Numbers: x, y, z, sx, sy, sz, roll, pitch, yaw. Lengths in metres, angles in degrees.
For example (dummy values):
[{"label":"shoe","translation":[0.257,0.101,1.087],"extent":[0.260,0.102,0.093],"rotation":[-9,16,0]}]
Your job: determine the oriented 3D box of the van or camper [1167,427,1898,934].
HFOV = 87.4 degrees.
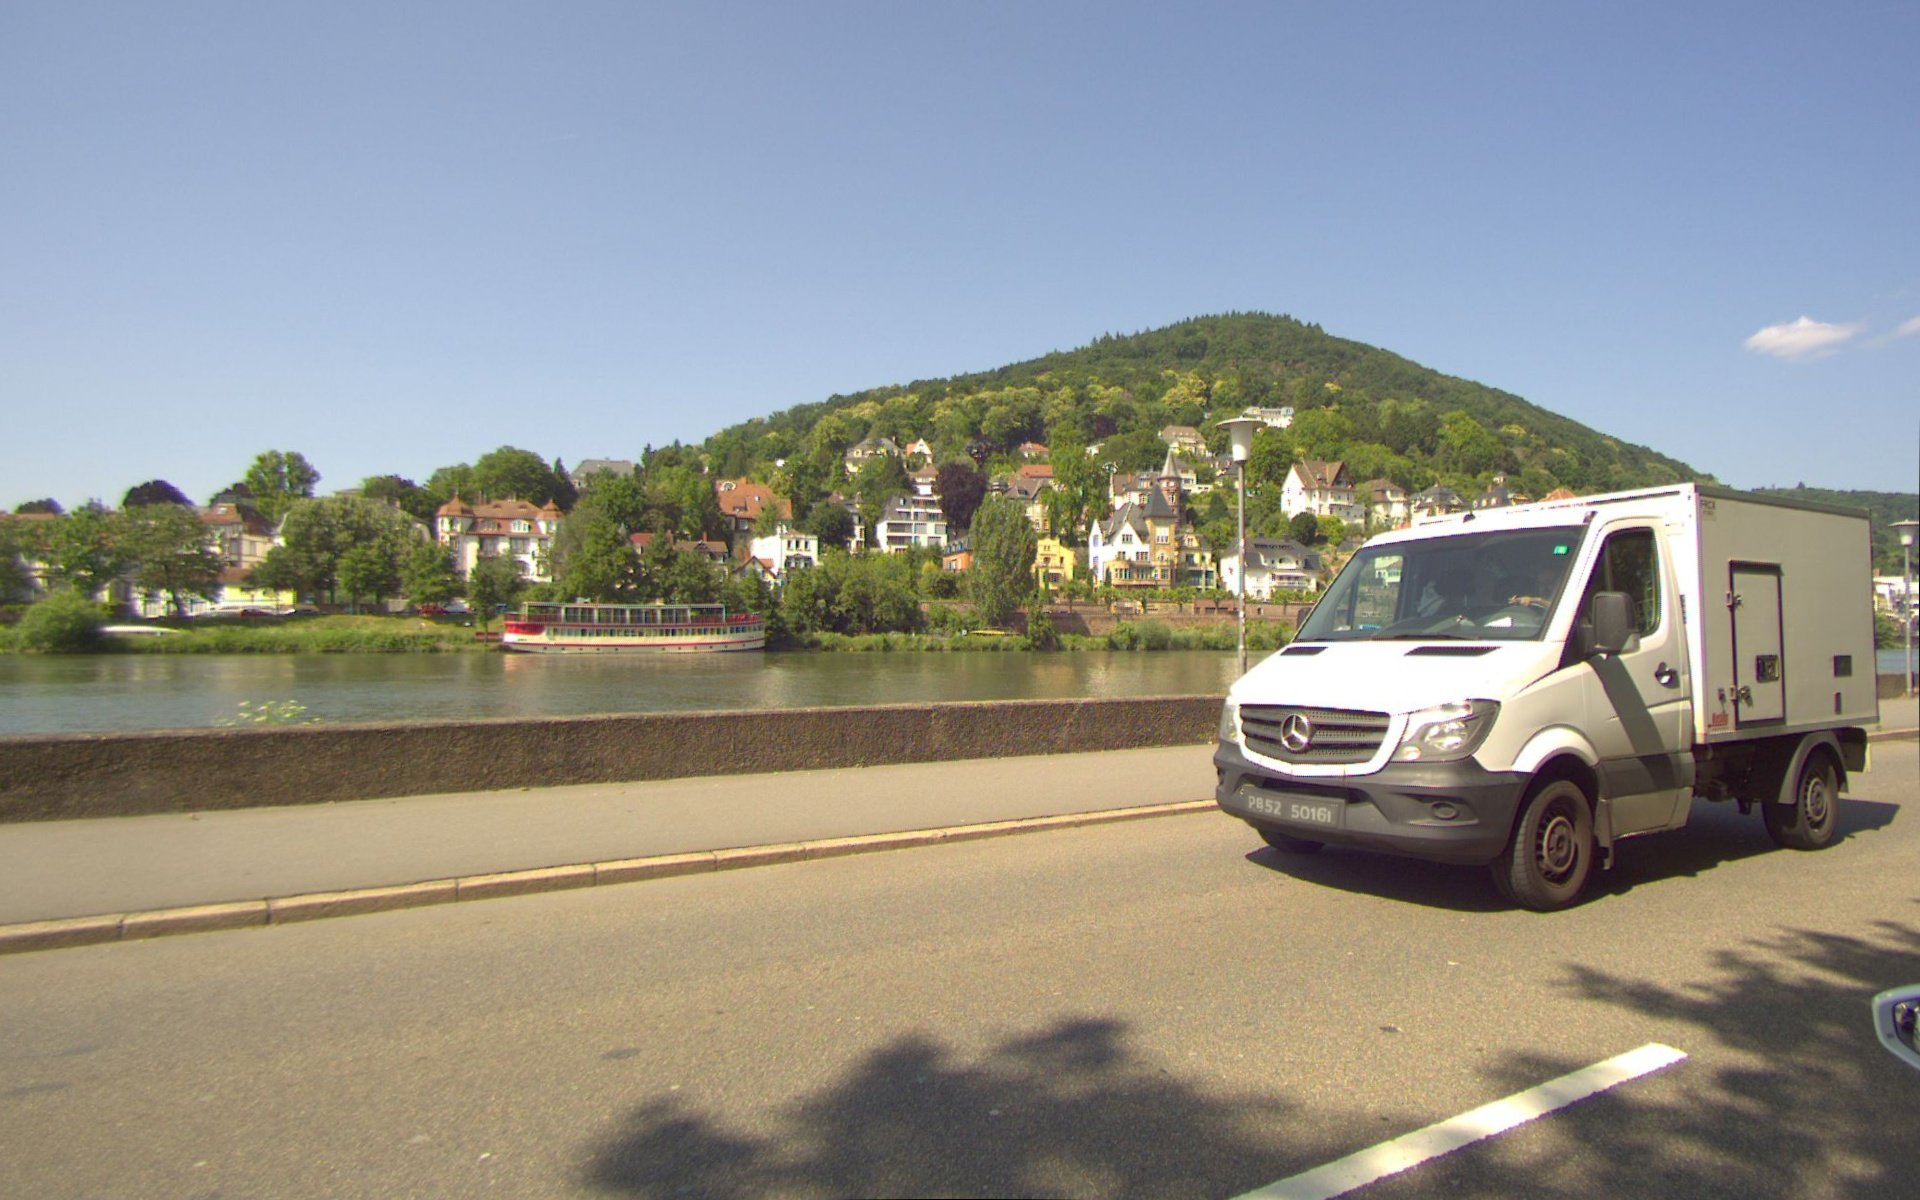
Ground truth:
[{"label":"van or camper","translation":[4.173,0.478,7.068],"extent":[5.322,2.430,2.068],"rotation":[1,-3,-30]}]
